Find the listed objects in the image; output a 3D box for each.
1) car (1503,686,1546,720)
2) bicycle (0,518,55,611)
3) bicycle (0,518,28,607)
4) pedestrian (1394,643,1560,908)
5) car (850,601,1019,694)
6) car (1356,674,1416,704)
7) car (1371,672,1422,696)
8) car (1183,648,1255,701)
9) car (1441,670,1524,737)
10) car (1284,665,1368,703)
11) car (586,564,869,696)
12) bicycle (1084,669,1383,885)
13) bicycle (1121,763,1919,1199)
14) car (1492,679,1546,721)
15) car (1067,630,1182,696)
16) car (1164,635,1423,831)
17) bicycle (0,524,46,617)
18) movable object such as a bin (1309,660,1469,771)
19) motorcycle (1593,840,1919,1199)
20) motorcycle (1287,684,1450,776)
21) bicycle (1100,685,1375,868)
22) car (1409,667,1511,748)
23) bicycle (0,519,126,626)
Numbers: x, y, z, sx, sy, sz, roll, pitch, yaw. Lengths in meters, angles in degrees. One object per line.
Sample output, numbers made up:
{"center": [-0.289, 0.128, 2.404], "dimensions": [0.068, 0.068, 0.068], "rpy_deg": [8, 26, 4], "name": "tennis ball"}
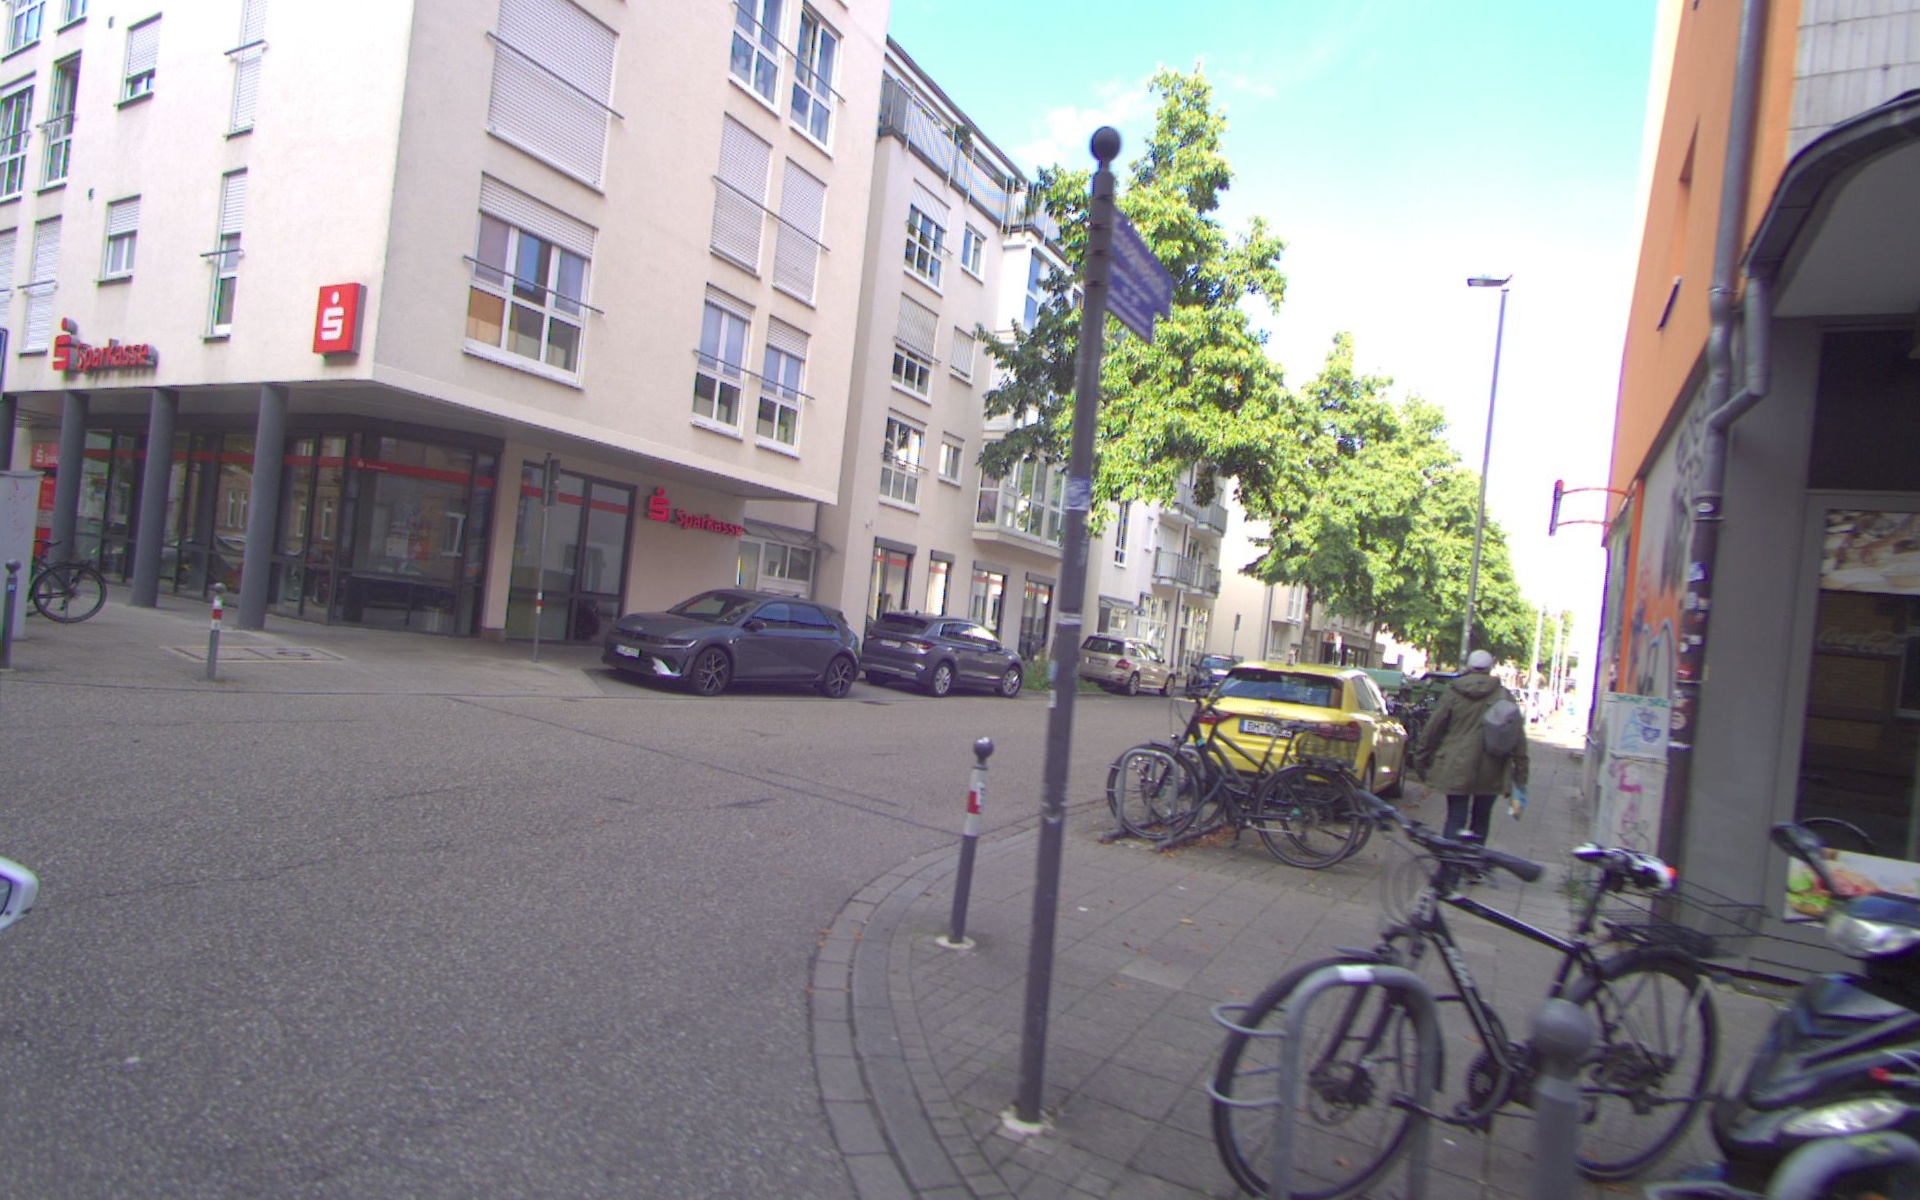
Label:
{"center": [28.755, 5.266, 51.220], "dimensions": [1.558, 1.480, 3.762], "rpy_deg": [6, -2, 33], "name": "car"}
{"center": [-12.538, -0.485, 12.749], "dimensions": [0.404, 1.161, 1.496], "rpy_deg": [7, 2, 30], "name": "bicycle"}
{"center": [-13.114, -0.525, 12.808], "dimensions": [0.404, 1.161, 1.769], "rpy_deg": [7, 2, 24], "name": "bicycle"}
{"center": [3.580, 1.156, 6.951], "dimensions": [0.813, 1.608, 0.779], "rpy_deg": [6, 0, 32], "name": "pedestrian"}
{"center": [-0.455, 1.055, 21.197], "dimensions": [1.615, 1.587, 3.608], "rpy_deg": [8, 0, 34], "name": "car"}
{"center": [26.830, 5.591, 63.337], "dimensions": [3.205, 1.450, 1.452], "rpy_deg": [5, -1, 32], "name": "car"}
{"center": [30.071, 5.784, 69.340], "dimensions": [2.960, 1.271, 1.290], "rpy_deg": [6, -1, 13], "name": "car"}
{"center": [8.885, 2.533, 34.757], "dimensions": [1.769, 1.497, 3.851], "rpy_deg": [6, -1, 7], "name": "car"}
{"center": [14.924, 2.930, 28.651], "dimensions": [1.607, 1.587, 3.455], "rpy_deg": [6, -1, 34], "name": "car"}
{"center": [18.247, 4.163, 50.244], "dimensions": [3.688, 1.450, 1.591], "rpy_deg": [6, -1, 15], "name": "car"}
{"center": [-3.559, 0.571, 16.259], "dimensions": [1.777, 1.650, 4.368], "rpy_deg": [8, 0, 31], "name": "car"}
{"center": [1.928, 1.201, 7.182], "dimensions": [1.898, 1.206, 0.535], "rpy_deg": [5, 0, 21], "name": "bicycle"}
{"center": [1.517, 1.109, 2.757], "dimensions": [1.933, 1.109, 0.687], "rpy_deg": [6, 1, -18], "name": "bicycle"}
{"center": [22.946, 4.108, 41.223], "dimensions": [1.558, 1.481, 3.456], "rpy_deg": [6, -2, 33], "name": "car"}
{"center": [5.035, 1.925, 30.377], "dimensions": [1.774, 1.621, 3.981], "rpy_deg": [8, 1, 34], "name": "car"}
{"center": [3.705, 1.294, 10.718], "dimensions": [1.767, 1.519, 3.791], "rpy_deg": [5, -1, 30], "name": "car"}
{"center": [-12.129, -0.400, 11.927], "dimensions": [0.639, 1.101, 1.766], "rpy_deg": [7, 2, 32], "name": "bicycle"}
{"center": [6.735, 1.780, 15.879], "dimensions": [2.158, 1.473, 1.315], "rpy_deg": [4, -3, 23], "name": "movable object such as a bin"}
{"center": [2.353, 1.191, 2.277], "dimensions": [1.640, 1.109, 0.606], "rpy_deg": [6, 1, -18], "name": "motorcycle"}
{"center": [5.953, 1.871, 14.723], "dimensions": [2.081, 1.015, 0.659], "rpy_deg": [6, 0, 24], "name": "motorcycle"}
{"center": [2.097, 1.296, 7.684], "dimensions": [1.892, 1.077, 0.446], "rpy_deg": [5, 0, 22], "name": "bicycle"}
{"center": [12.098, 2.570, 24.228], "dimensions": [1.607, 1.587, 3.891], "rpy_deg": [6, -1, 33], "name": "car"}
{"center": [-11.024, -0.330, 11.786], "dimensions": [0.639, 1.177, 1.766], "rpy_deg": [7, 2, 32], "name": "bicycle"}
